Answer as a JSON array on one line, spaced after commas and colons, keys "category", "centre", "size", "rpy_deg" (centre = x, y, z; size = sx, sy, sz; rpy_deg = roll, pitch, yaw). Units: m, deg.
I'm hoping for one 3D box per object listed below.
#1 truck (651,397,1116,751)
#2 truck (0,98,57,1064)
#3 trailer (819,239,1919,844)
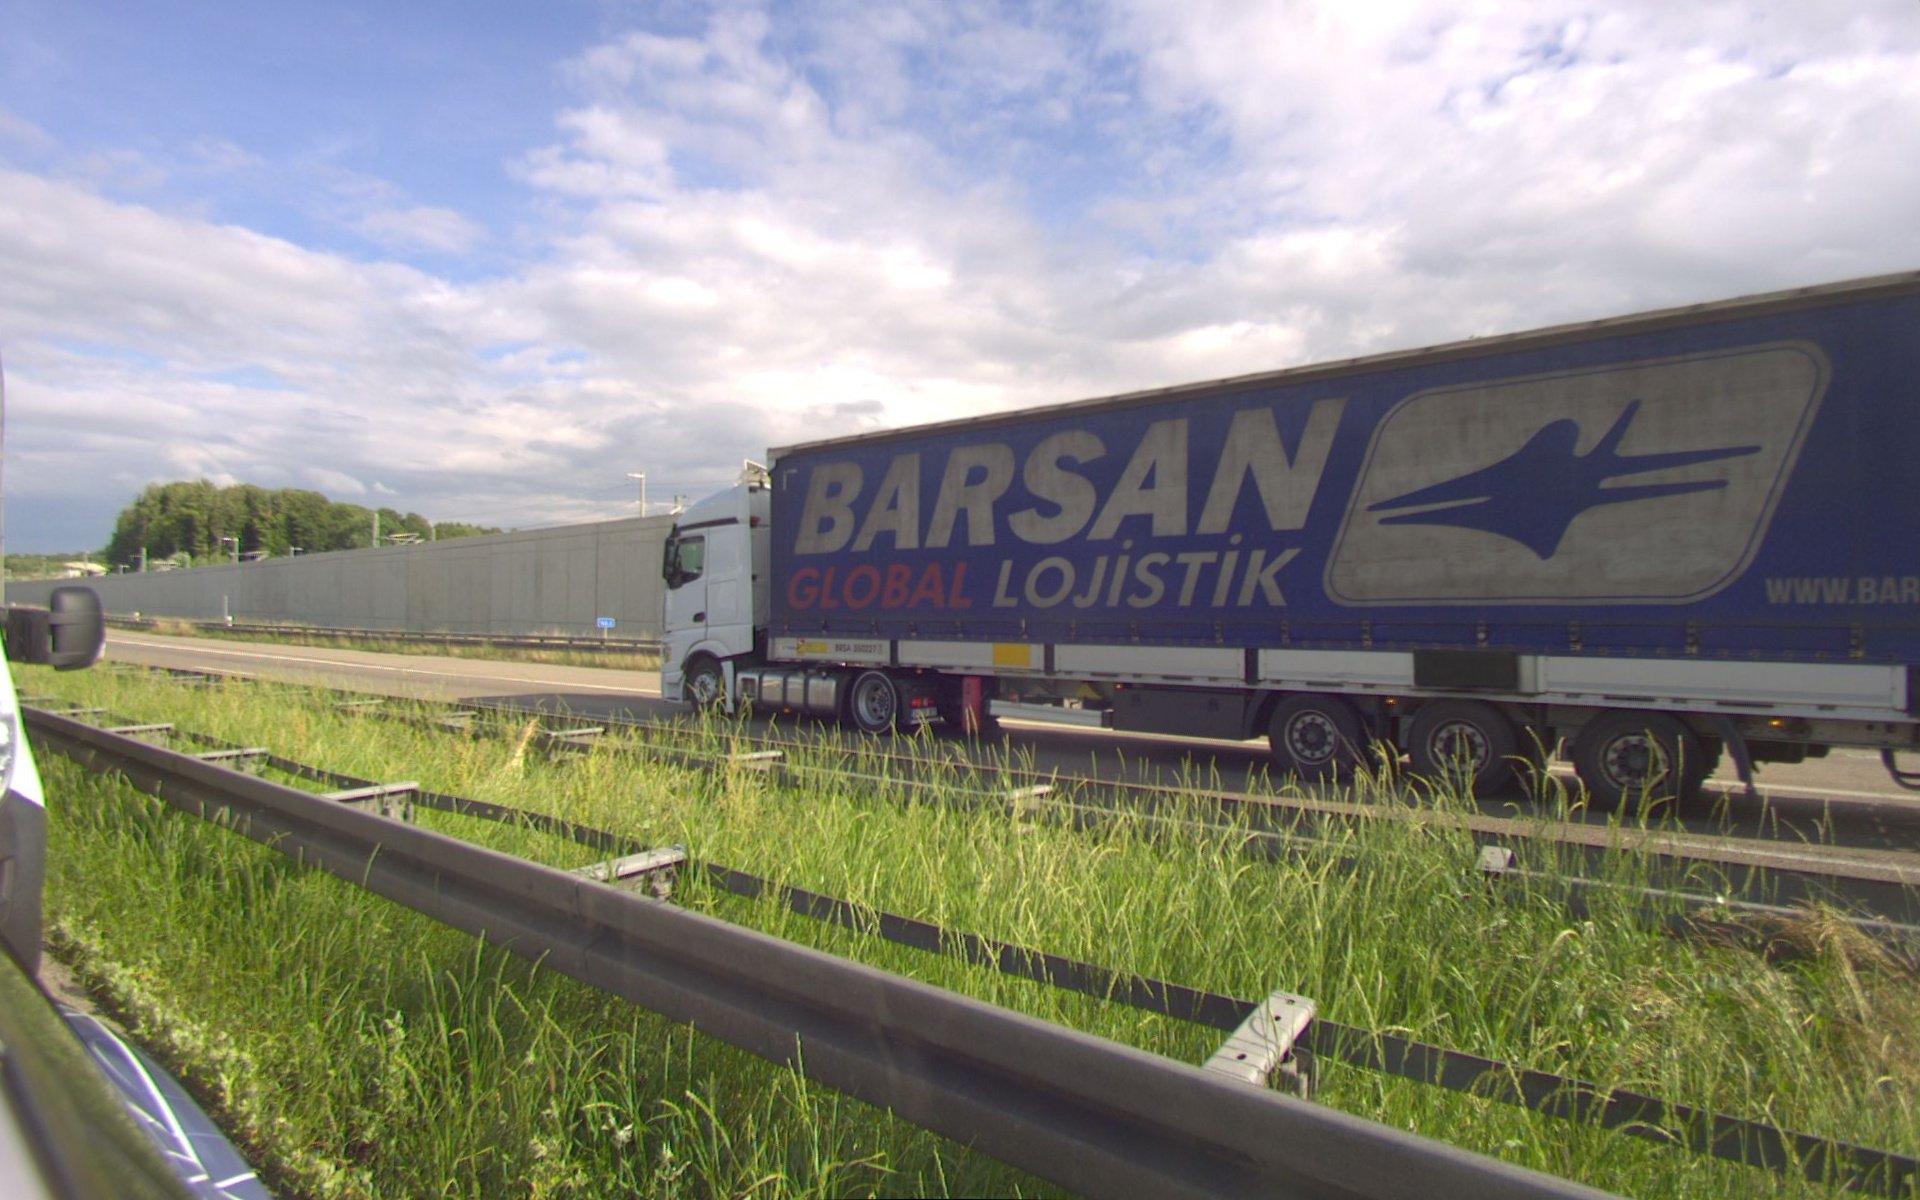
[{"category": "truck", "centre": [-1.406, -0.282, 15.022], "size": [6.995, 4.129, 2.612], "rpy_deg": [-1, 0, 39]}, {"category": "truck", "centre": [-6.612, -0.029, 5.181], "size": [7.800, 3.129, 2.033], "rpy_deg": [-1, 0, 41]}, {"category": "trailer", "centre": [3.738, -0.363, 10.815], "size": [12.382, 4.111, 2.628], "rpy_deg": [-1, 0, 39]}]
